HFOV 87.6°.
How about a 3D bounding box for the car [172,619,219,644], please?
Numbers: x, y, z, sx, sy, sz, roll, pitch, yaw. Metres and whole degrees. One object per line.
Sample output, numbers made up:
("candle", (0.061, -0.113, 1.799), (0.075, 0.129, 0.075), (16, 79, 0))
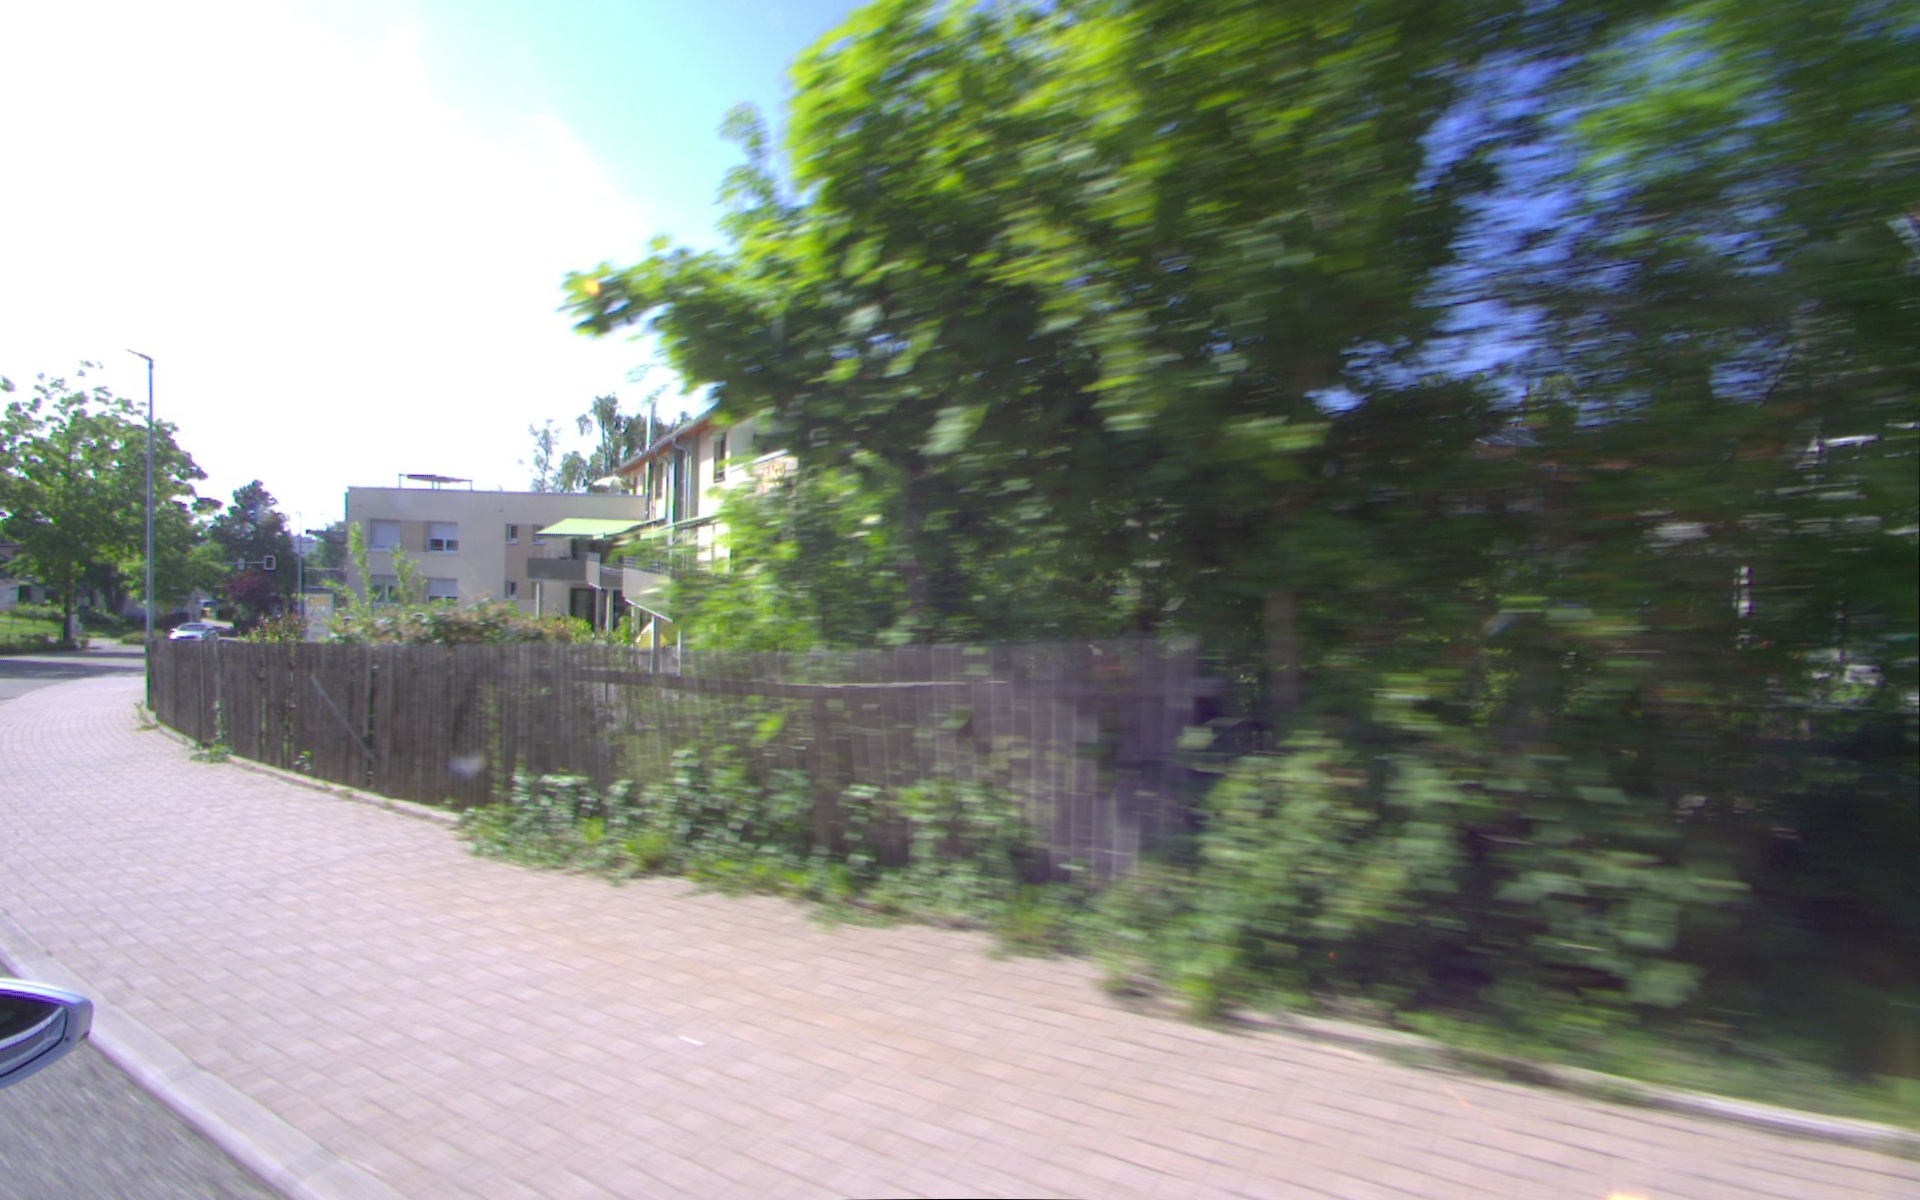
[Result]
("car", (-48.259, 1.975, 63.296), (1.710, 1.461, 4.045), (3, -2, -29))

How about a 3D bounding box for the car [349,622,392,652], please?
("car", (-29.873, 1.832, 50.814), (1.688, 1.446, 3.989), (1, -1, -28))

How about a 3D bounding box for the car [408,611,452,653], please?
("car", (-25.999, 1.542, 49.153), (1.782, 1.960, 4.713), (1, -1, -28))

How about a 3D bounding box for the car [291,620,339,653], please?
("car", (-32.552, 1.818, 50.632), (1.688, 1.555, 3.989), (1, -1, -28))
